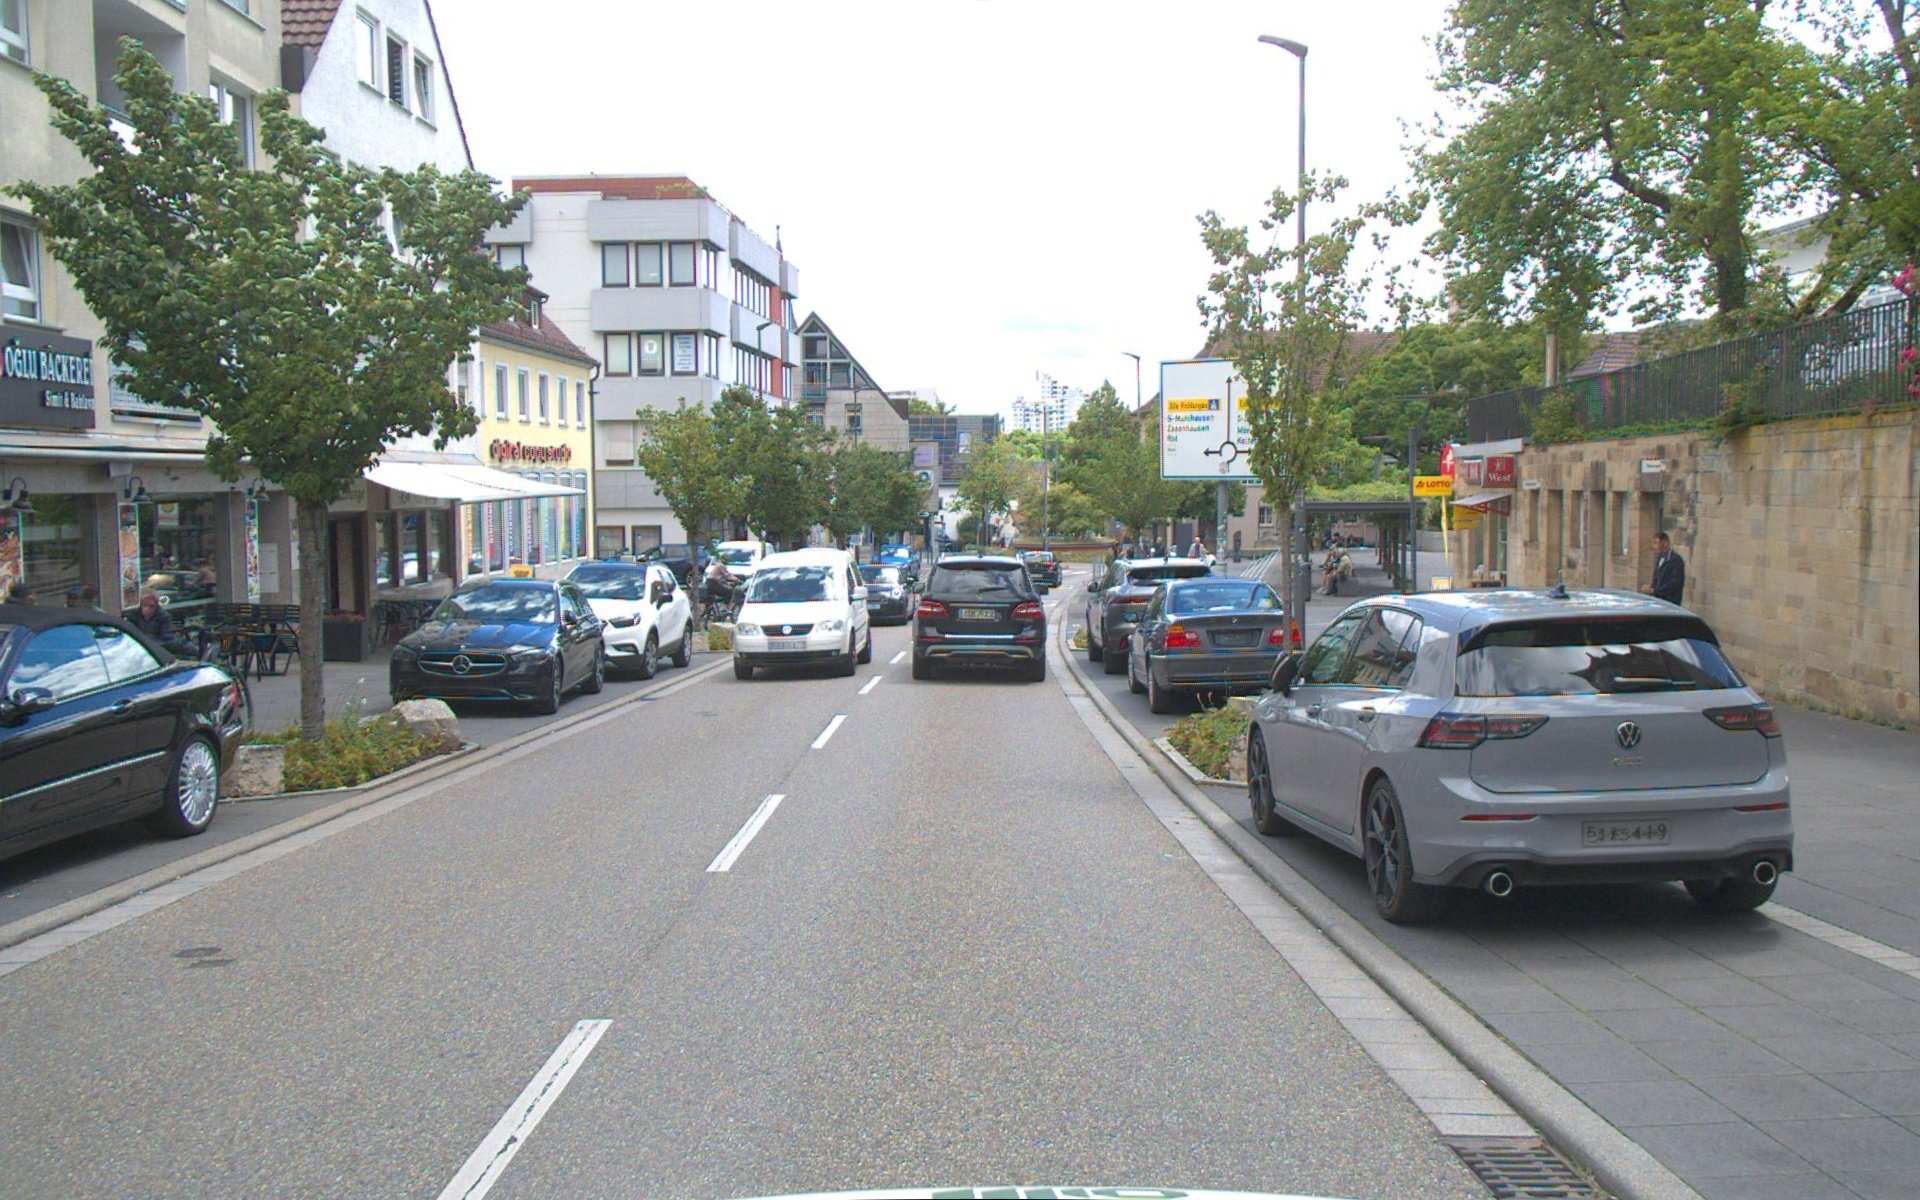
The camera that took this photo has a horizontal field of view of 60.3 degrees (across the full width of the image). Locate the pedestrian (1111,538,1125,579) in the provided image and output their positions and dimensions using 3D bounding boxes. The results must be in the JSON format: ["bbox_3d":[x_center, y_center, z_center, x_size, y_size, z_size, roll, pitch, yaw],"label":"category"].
[{"bbox_3d":[6.199,-1.615,64.870,0.489,1.593,0.498,-1,2,5],"label":"pedestrian"}]

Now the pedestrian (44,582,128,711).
[{"bbox_3d":[-8.961,0.469,16.975,0.538,1.289,0.599,0,1,0],"label":"pedestrian"}]

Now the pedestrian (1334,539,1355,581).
[{"bbox_3d":[12.461,-1.285,53.582,0.610,1.330,0.546,-1,2,9],"label":"pedestrian"}]

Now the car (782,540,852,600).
[{"bbox_3d":[-4.245,-0.934,49.742,1.622,1.701,4.352,1,2,1],"label":"car"}]

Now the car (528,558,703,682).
[{"bbox_3d":[-5.108,0.223,25.008,1.631,1.675,4.135,1,2,2],"label":"car"}]

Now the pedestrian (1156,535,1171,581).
[{"bbox_3d":[7.666,-1.585,62.230,0.500,1.709,0.577,-1,2,5],"label":"pedestrian"}]

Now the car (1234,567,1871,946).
[{"bbox_3d":[2.715,0.610,8.658,1.719,1.466,4.088,-1,0,-2],"label":"car"}]

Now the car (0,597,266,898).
[{"bbox_3d":[-5.400,0.711,8.663,1.623,1.416,4.444,0,1,0],"label":"car"}]

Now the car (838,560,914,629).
[{"bbox_3d":[-2.023,-0.172,40.685,1.573,1.412,3.631,-2,4,1],"label":"car"}]

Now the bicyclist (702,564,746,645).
[{"bbox_3d":[-5.116,0.092,35.858,0.769,1.724,0.504,-3,2,-35],"label":"bicyclist"}]

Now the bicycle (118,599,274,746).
[{"bbox_3d":[-6.447,0.573,14.049,0.474,1.126,1.907,0,1,-1],"label":"bicycle"}]

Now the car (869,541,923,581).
[{"bbox_3d":[-2.804,-1.750,73.047,1.658,1.627,4.336,3,2,7],"label":"car"}]

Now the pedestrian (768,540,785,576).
[{"bbox_3d":[-8.378,-1.913,75.450,0.576,1.593,0.641,-2,2,-21],"label":"pedestrian"}]

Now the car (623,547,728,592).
[{"bbox_3d":[-10.238,-1.108,59.677,3.554,1.585,1.668,0,2,-2],"label":"car"}]

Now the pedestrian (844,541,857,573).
[{"bbox_3d":[-5.494,-2.172,82.994,0.574,1.615,0.639,1,2,6],"label":"pedestrian"}]

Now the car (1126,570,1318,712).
[{"bbox_3d":[2.928,0.422,19.277,1.646,1.441,4.372,-1,0,2],"label":"car"}]

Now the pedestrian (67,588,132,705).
[{"bbox_3d":[-9.643,0.515,18.542,0.418,1.271,0.567,0,2,0],"label":"pedestrian"}]

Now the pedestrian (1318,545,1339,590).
[{"bbox_3d":[10.868,-0.960,48.839,0.556,1.283,0.542,-1,4,9],"label":"pedestrian"}]

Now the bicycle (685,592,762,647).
[{"bbox_3d":[-5.115,0.413,35.817,1.636,1.106,0.408,-3,2,-36],"label":"bicycle"}]

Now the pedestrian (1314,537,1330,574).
[{"bbox_3d":[13.559,-1.671,61.954,0.555,1.346,0.546,1,2,14],"label":"pedestrian"}]

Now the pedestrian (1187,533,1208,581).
[{"bbox_3d":[8.706,-1.579,60.534,0.670,1.711,0.715,0,2,15],"label":"pedestrian"}]

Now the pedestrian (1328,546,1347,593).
[{"bbox_3d":[10.951,-0.891,48.020,0.487,1.343,0.525,-1,4,9],"label":"pedestrian"}]

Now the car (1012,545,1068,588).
[{"bbox_3d":[3.251,-1.407,68.311,2.011,1.615,4.374,2,2,-1],"label":"car"}]

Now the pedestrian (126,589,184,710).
[{"bbox_3d":[-9.000,0.547,18.495,0.412,1.322,0.454,0,2,0],"label":"pedestrian"}]

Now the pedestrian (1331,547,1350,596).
[{"bbox_3d":[10.899,-0.824,47.415,0.484,1.343,0.576,-1,4,8],"label":"pedestrian"}]

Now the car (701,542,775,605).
[{"bbox_3d":[-6.944,-0.883,52.122,1.720,1.845,4.477,1,2,0],"label":"car"}]

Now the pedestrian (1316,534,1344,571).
[{"bbox_3d":[12.904,-1.662,57.651,0.756,1.291,0.674,2,3,37],"label":"pedestrian"}]

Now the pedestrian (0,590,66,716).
[{"bbox_3d":[-9.558,0.535,17.059,0.387,1.271,0.500,0,2,0],"label":"pedestrian"}]

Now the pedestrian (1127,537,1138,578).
[{"bbox_3d":[6.768,-1.681,65.032,0.385,1.593,0.352,-1,2,7],"label":"pedestrian"}]

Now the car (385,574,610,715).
[{"bbox_3d":[-5.401,0.446,19.887,1.803,1.476,4.511,1,1,-5],"label":"car"}]

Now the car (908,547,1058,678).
[{"bbox_3d":[0.242,0.159,24.573,1.986,1.757,4.431,1,0,-2],"label":"car"}]

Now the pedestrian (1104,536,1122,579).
[{"bbox_3d":[5.783,-1.606,62.473,0.503,1.576,0.486,0,2,31],"label":"pedestrian"}]

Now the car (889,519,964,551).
[{"bbox_3d":[-2.933,-5.652,144.463,6.183,2.604,2.196,1,-1,-17],"label":"car"}]

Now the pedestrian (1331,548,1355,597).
[{"bbox_3d":[10.818,-0.788,46.774,0.603,1.343,0.586,-1,4,8],"label":"pedestrian"}]

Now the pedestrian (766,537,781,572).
[{"bbox_3d":[-8.609,-2.106,76.311,0.499,1.593,0.587,-1,2,5],"label":"pedestrian"}]

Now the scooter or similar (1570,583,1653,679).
[{"bbox_3d":[7.638,0.361,19.416,0.794,1.091,0.561,-1,0,11],"label":"scooter or similar"}]

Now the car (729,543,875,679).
[{"bbox_3d":[-2.322,0.126,25.303,1.710,1.834,4.213,-2,1,1],"label":"car"}]

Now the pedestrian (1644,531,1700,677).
[{"bbox_3d":[8.299,0.043,19.288,0.463,1.674,0.507,-1,0,11],"label":"pedestrian"}]

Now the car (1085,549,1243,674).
[{"bbox_3d":[3.059,0.099,25.652,1.889,1.754,4.574,-1,2,0],"label":"car"}]
